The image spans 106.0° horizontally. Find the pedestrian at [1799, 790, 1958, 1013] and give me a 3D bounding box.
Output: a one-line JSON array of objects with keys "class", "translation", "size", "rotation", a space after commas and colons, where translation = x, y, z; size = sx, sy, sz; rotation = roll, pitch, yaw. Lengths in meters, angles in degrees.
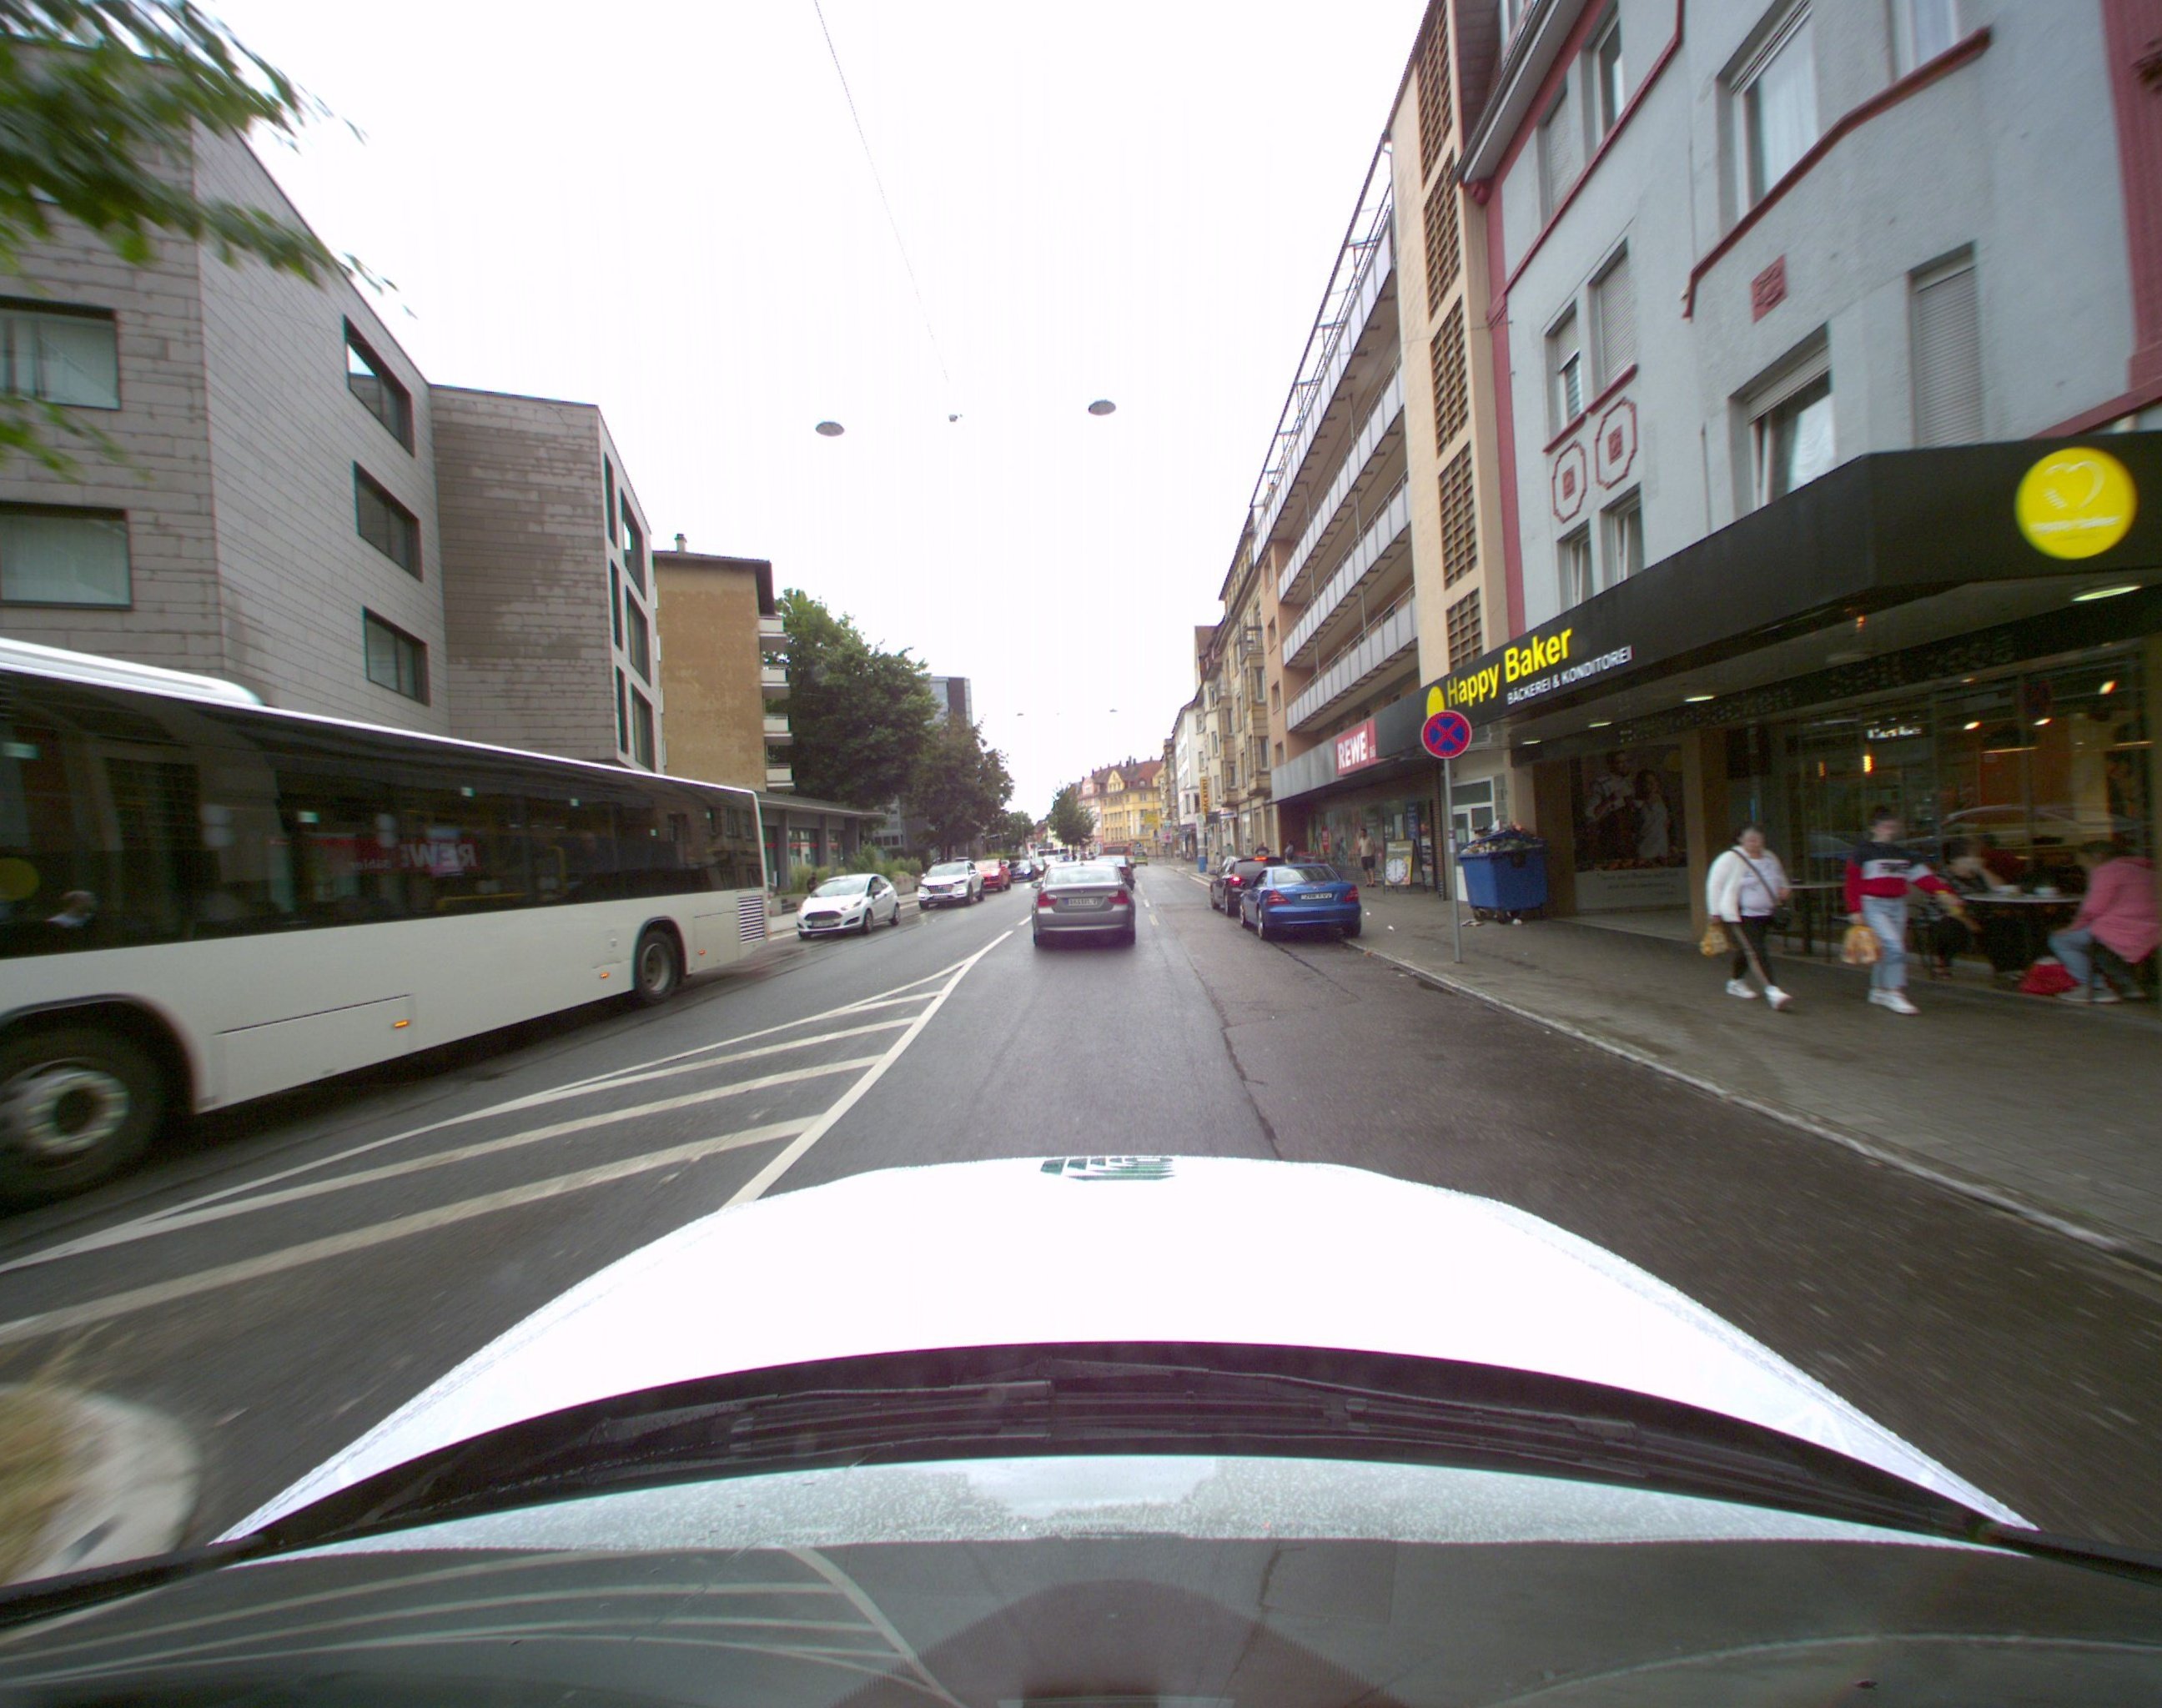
[{"class": "pedestrian", "translation": [6.316, 0.352, 6.503], "size": [0.694, 1.647, 0.788], "rotation": [-5, 0, 37]}]

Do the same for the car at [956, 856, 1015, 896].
[{"class": "car", "translation": [-4.788, 1.078, 41.592], "size": [2.098, 1.764, 5.063], "rotation": [-5, -1, 2]}]

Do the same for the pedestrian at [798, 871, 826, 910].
[{"class": "pedestrian", "translation": [-10.079, 1.368, 30.546], "size": [0.584, 1.420, 0.730], "rotation": [-3, -1, 37]}]

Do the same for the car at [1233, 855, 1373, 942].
[{"class": "car", "translation": [3.965, 0.724, 15.175], "size": [1.727, 1.310, 3.770], "rotation": [-3, 0, 3]}]

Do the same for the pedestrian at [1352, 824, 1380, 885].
[{"class": "pedestrian", "translation": [8.935, 0.017, 25.567], "size": [0.593, 1.859, 0.728], "rotation": [-3, -1, 6]}]

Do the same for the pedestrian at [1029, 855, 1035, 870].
[{"class": "pedestrian", "translation": [-5.687, 0.960, 94.137], "size": [0.573, 1.762, 0.580], "rotation": [-3, 0, -4]}]

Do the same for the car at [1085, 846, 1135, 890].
[{"class": "car", "translation": [1.146, 0.547, 32.113], "size": [1.792, 1.563, 4.001], "rotation": [-3, -1, 2]}]

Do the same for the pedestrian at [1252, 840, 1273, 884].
[{"class": "pedestrian", "translation": [7.045, 0.290, 31.610], "size": [0.622, 1.651, 0.750], "rotation": [-3, 2, 5]}]

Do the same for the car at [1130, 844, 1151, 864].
[{"class": "car", "translation": [6.466, 0.031, 88.678], "size": [1.986, 2.013, 4.002], "rotation": [-3, 0, 2]}]

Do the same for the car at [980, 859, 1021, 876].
[{"class": "car", "translation": [-8.032, 1.344, 81.344], "size": [3.600, 1.569, 1.724], "rotation": [-2, 0, -30]}]

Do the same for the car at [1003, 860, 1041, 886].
[{"class": "car", "translation": [-4.004, 1.239, 55.669], "size": [1.947, 1.511, 4.915], "rotation": [-5, 0, 2]}]

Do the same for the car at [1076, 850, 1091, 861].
[{"class": "car", "translation": [0.486, 0.267, 167.795], "size": [1.999, 2.013, 3.975], "rotation": [-3, 0, -18]}]

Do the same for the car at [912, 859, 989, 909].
[{"class": "car", "translation": [-4.759, 1.062, 30.313], "size": [1.887, 1.573, 4.127], "rotation": [-5, -1, 2]}]

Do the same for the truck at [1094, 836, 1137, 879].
[{"class": "truck", "translation": [1.979, 0.174, 46.160], "size": [2.216, 2.249, 5.066], "rotation": [-2, 0, 2]}]

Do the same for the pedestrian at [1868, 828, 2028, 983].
[{"class": "pedestrian", "translation": [7.573, 0.430, 7.147], "size": [0.619, 1.258, 0.660], "rotation": [-5, 0, 10]}]

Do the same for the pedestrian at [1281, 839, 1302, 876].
[{"class": "pedestrian", "translation": [8.966, 0.149, 34.650], "size": [0.562, 1.572, 0.624], "rotation": [-3, 0, -14]}]

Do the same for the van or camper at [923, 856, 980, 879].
[{"class": "van or camper", "translation": [-12.531, 1.256, 78.869], "size": [4.978, 2.013, 1.982], "rotation": [-2, 0, -27]}]

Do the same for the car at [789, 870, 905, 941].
[{"class": "car", "translation": [-5.773, 1.216, 20.552], "size": [1.609, 1.464, 3.809], "rotation": [-3, 0, 3]}]

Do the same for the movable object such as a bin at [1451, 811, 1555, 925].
[{"class": "movable object such as a bin", "translation": [7.162, 0.239, 13.904], "size": [0.996, 1.793, 1.296], "rotation": [-3, -1, 1]}]

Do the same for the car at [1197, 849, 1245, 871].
[{"class": "car", "translation": [12.589, 0.495, 73.219], "size": [4.111, 1.772, 1.879], "rotation": [-3, 0, 11]}]

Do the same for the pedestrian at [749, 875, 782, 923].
[{"class": "pedestrian", "translation": [-11.485, 1.641, 29.643], "size": [0.704, 1.678, 0.805], "rotation": [-3, 0, 30]}]

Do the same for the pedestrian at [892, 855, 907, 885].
[{"class": "pedestrian", "translation": [-11.047, 0.963, 49.509], "size": [0.723, 1.826, 0.849], "rotation": [-2, 0, -20]}]

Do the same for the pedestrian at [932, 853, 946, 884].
[{"class": "pedestrian", "translation": [-8.638, 0.861, 49.463], "size": [0.722, 1.826, 0.718], "rotation": [-2, 0, -16]}]

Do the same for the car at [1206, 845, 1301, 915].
[{"class": "car", "translation": [4.294, 0.579, 20.802], "size": [1.723, 1.547, 3.985], "rotation": [-3, 0, 3]}]

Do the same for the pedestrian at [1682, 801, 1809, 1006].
[{"class": "pedestrian", "translation": [5.708, 0.402, 7.045], "size": [0.694, 1.647, 0.788], "rotation": [-5, 0, 37]}]

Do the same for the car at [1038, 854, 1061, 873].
[{"class": "car", "translation": [-2.957, 0.887, 76.564], "size": [1.813, 1.569, 4.091], "rotation": [-4, 0, 2]}]

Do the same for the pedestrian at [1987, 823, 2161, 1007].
[{"class": "pedestrian", "translation": [7.587, 0.434, 6.129], "size": [0.698, 1.258, 0.659], "rotation": [-5, 0, 3]}]

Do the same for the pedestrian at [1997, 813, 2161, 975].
[{"class": "pedestrian", "translation": [8.585, 0.325, 6.944], "size": [0.698, 1.258, 0.659], "rotation": [-5, 0, 3]}]

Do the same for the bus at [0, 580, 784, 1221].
[{"class": "bus", "translation": [-6.728, 0.396, 7.651], "size": [2.795, 3.246, 11.965], "rotation": [-7, -1, 2]}]

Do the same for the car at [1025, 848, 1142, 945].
[{"class": "car", "translation": [0.109, 0.706, 15.104], "size": [1.792, 1.464, 4.372], "rotation": [-3, -1, 2]}]

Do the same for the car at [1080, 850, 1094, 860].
[{"class": "car", "translation": [1.373, 0.251, 181.418], "size": [1.769, 2.180, 3.970], "rotation": [0, -1, -23]}]
